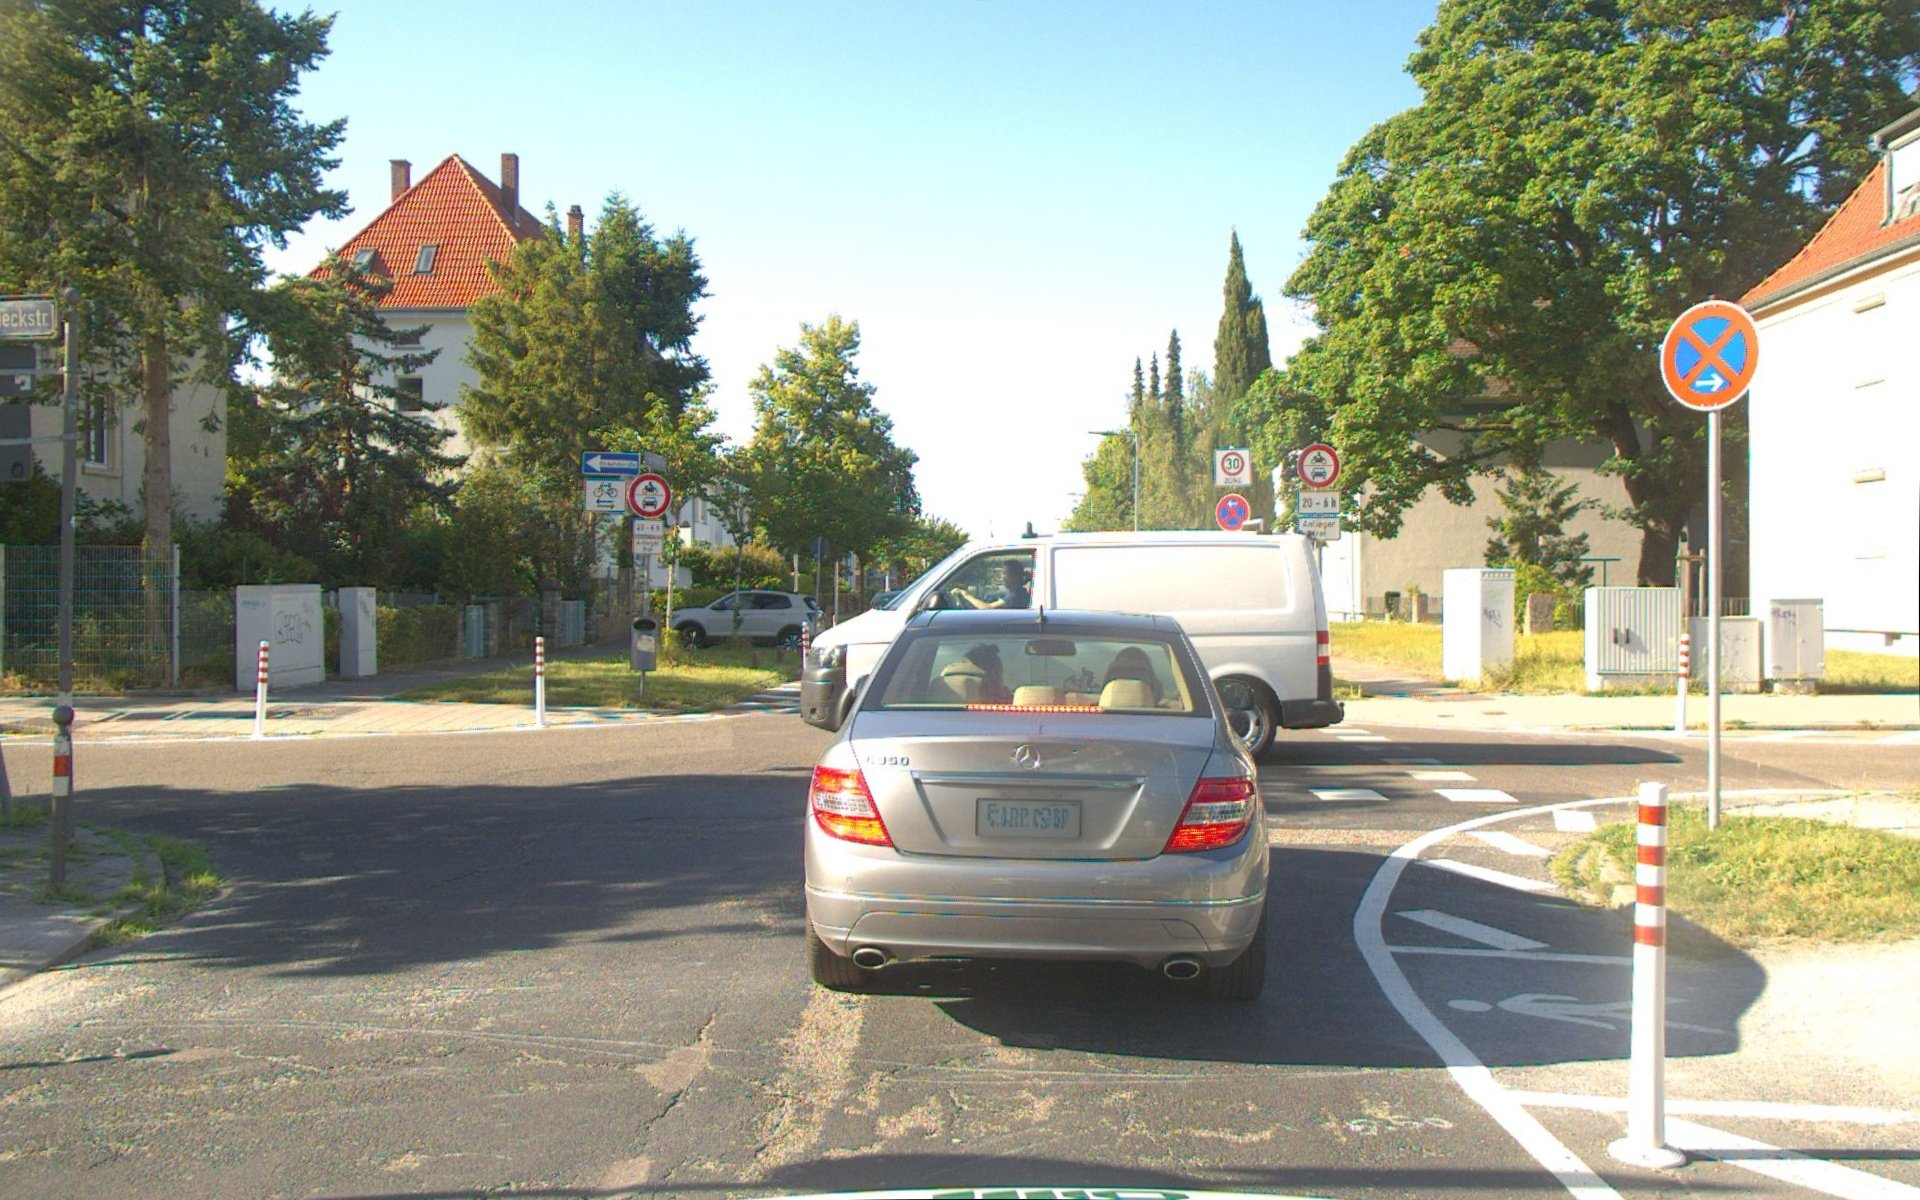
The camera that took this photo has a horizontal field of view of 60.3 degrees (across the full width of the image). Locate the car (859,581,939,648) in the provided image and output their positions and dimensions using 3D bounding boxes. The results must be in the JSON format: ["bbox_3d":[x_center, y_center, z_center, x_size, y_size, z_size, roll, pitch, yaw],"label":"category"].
[{"bbox_3d":[-1.635,0.376,45.628,1.953,1.637,4.000,-4,0,0],"label":"car"}]

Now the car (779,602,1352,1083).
[{"bbox_3d":[0.432,0.761,7.216,1.798,1.466,4.002,0,0,3],"label":"car"}]

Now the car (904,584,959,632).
[{"bbox_3d":[-1.051,0.273,63.434,1.953,1.637,4.000,-4,0,0],"label":"car"}]

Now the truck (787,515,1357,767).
[{"bbox_3d":[0.965,0.337,14.894,4.757,2.071,2.001,-1,0,2],"label":"truck"}]

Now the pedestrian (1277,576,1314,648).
[{"bbox_3d":[7.785,0.266,38.374,0.750,1.639,0.835,-1,0,7],"label":"pedestrian"}]

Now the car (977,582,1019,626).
[{"bbox_3d":[1.467,0.129,64.924,1.564,1.638,3.644,-1,1,0],"label":"car"}]

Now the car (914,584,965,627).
[{"bbox_3d":[-0.829,0.204,69.228,1.953,1.637,4.000,-4,0,0],"label":"car"}]

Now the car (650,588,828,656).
[{"bbox_3d":[-5.373,0.519,40.577,4.107,1.591,1.842,0,0,-1],"label":"car"}]
